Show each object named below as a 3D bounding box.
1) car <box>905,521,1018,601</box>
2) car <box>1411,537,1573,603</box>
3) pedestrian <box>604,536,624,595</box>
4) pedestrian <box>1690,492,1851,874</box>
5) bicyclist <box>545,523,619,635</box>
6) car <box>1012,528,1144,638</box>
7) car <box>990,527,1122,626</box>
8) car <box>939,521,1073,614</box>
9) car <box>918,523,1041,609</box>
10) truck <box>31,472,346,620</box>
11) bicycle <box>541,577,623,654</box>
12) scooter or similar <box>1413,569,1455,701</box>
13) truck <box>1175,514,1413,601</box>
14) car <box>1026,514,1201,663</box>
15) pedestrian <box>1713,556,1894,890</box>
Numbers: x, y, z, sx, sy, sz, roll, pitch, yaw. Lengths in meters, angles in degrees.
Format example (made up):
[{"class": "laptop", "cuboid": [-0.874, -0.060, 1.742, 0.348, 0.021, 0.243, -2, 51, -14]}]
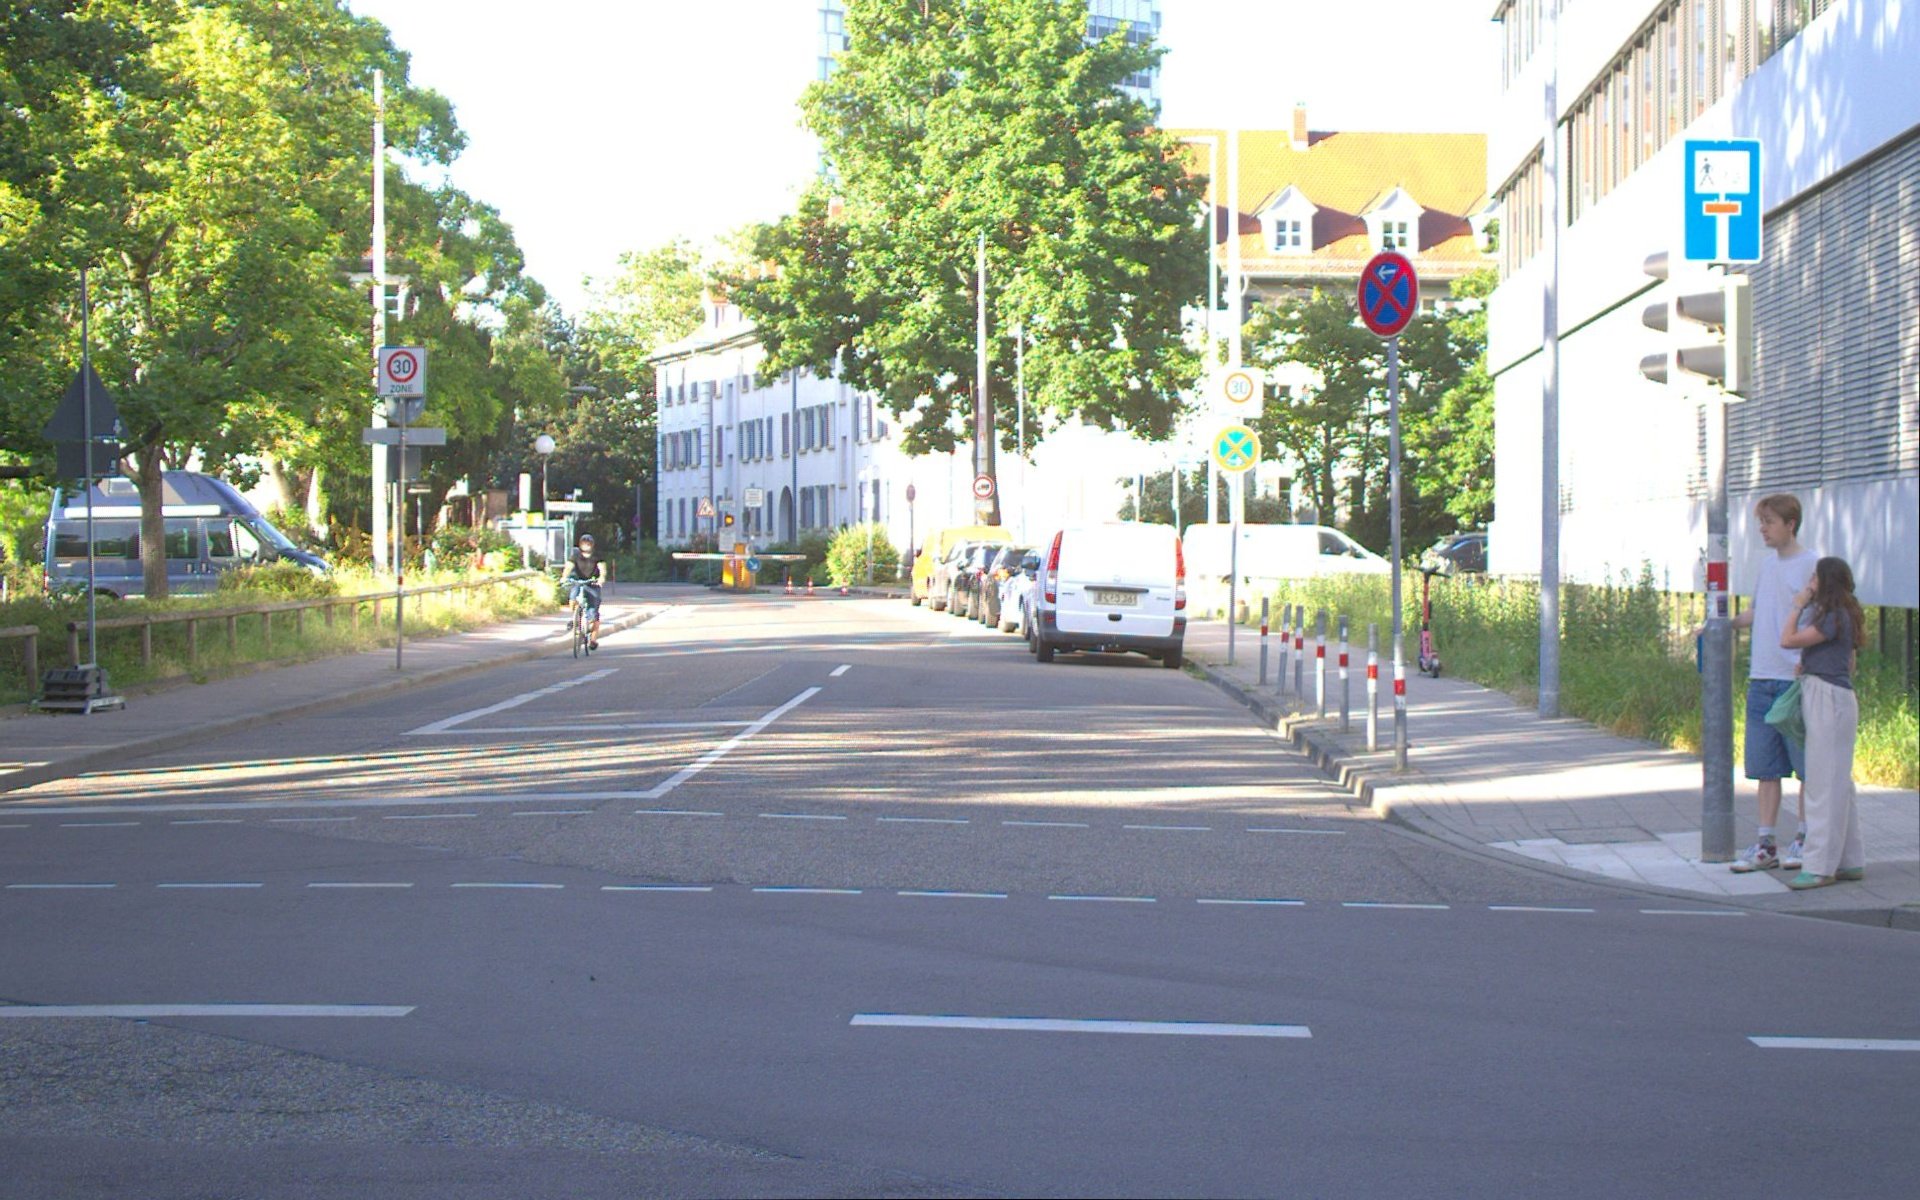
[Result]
[{"class": "car", "cuboid": [-0.003, -0.883, 76.461, 1.888, 1.650, 4.416, 0, 2, -8]}, {"class": "car", "cuboid": [12.835, -0.723, 82.979, 3.554, 1.541, 1.559, 0, 1, -8]}, {"class": "pedestrian", "cuboid": [-9.827, -0.974, 97.690, 0.545, 1.671, 0.476, 0, 1, -7]}, {"class": "pedestrian", "cuboid": [4.031, 0.402, 17.075, 0.560, 1.844, 0.676, -2, 1, 26]}, {"class": "bicyclist", "cuboid": [-5.252, -0.296, 47.795, 0.866, 1.510, 1.019, -2, 0, -1]}, {"class": "car", "cuboid": [1.777, -0.303, 53.207, 1.888, 1.550, 4.415, 1, 2, 0]}, {"class": "car", "cuboid": [1.593, -0.437, 58.700, 1.888, 1.550, 4.416, 1, 2, -3]}, {"class": "car", "cuboid": [0.854, -0.650, 66.203, 1.888, 1.650, 4.416, 0, 2, -8]}, {"class": "car", "cuboid": [0.359, -0.722, 71.286, 1.888, 1.650, 4.416, 0, 2, -8]}, {"class": "truck", "cuboid": [-13.003, -0.923, 58.157, 4.828, 2.391, 2.087, 1, 1, 1]}, {"class": "bicycle", "cuboid": [-5.241, 0.207, 47.784, 0.866, 1.006, 2.414, -2, 1, -1]}, {"class": "scooter or similar", "cuboid": [5.228, 0.376, 37.958, 0.330, 1.419, 1.335, 2, 0, 4]}, {"class": "truck", "cuboid": [8.013, -1.019, 82.659, 5.336, 2.007, 2.001, 0, 1, -8]}, {"class": "car", "cuboid": [1.951, -0.195, 44.983, 2.085, 1.789, 4.415, 1, 2, 0]}, {"class": "pedestrian", "cuboid": [4.032, 0.571, 16.460, 0.559, 1.535, 0.677, -3, 1, -8]}]
